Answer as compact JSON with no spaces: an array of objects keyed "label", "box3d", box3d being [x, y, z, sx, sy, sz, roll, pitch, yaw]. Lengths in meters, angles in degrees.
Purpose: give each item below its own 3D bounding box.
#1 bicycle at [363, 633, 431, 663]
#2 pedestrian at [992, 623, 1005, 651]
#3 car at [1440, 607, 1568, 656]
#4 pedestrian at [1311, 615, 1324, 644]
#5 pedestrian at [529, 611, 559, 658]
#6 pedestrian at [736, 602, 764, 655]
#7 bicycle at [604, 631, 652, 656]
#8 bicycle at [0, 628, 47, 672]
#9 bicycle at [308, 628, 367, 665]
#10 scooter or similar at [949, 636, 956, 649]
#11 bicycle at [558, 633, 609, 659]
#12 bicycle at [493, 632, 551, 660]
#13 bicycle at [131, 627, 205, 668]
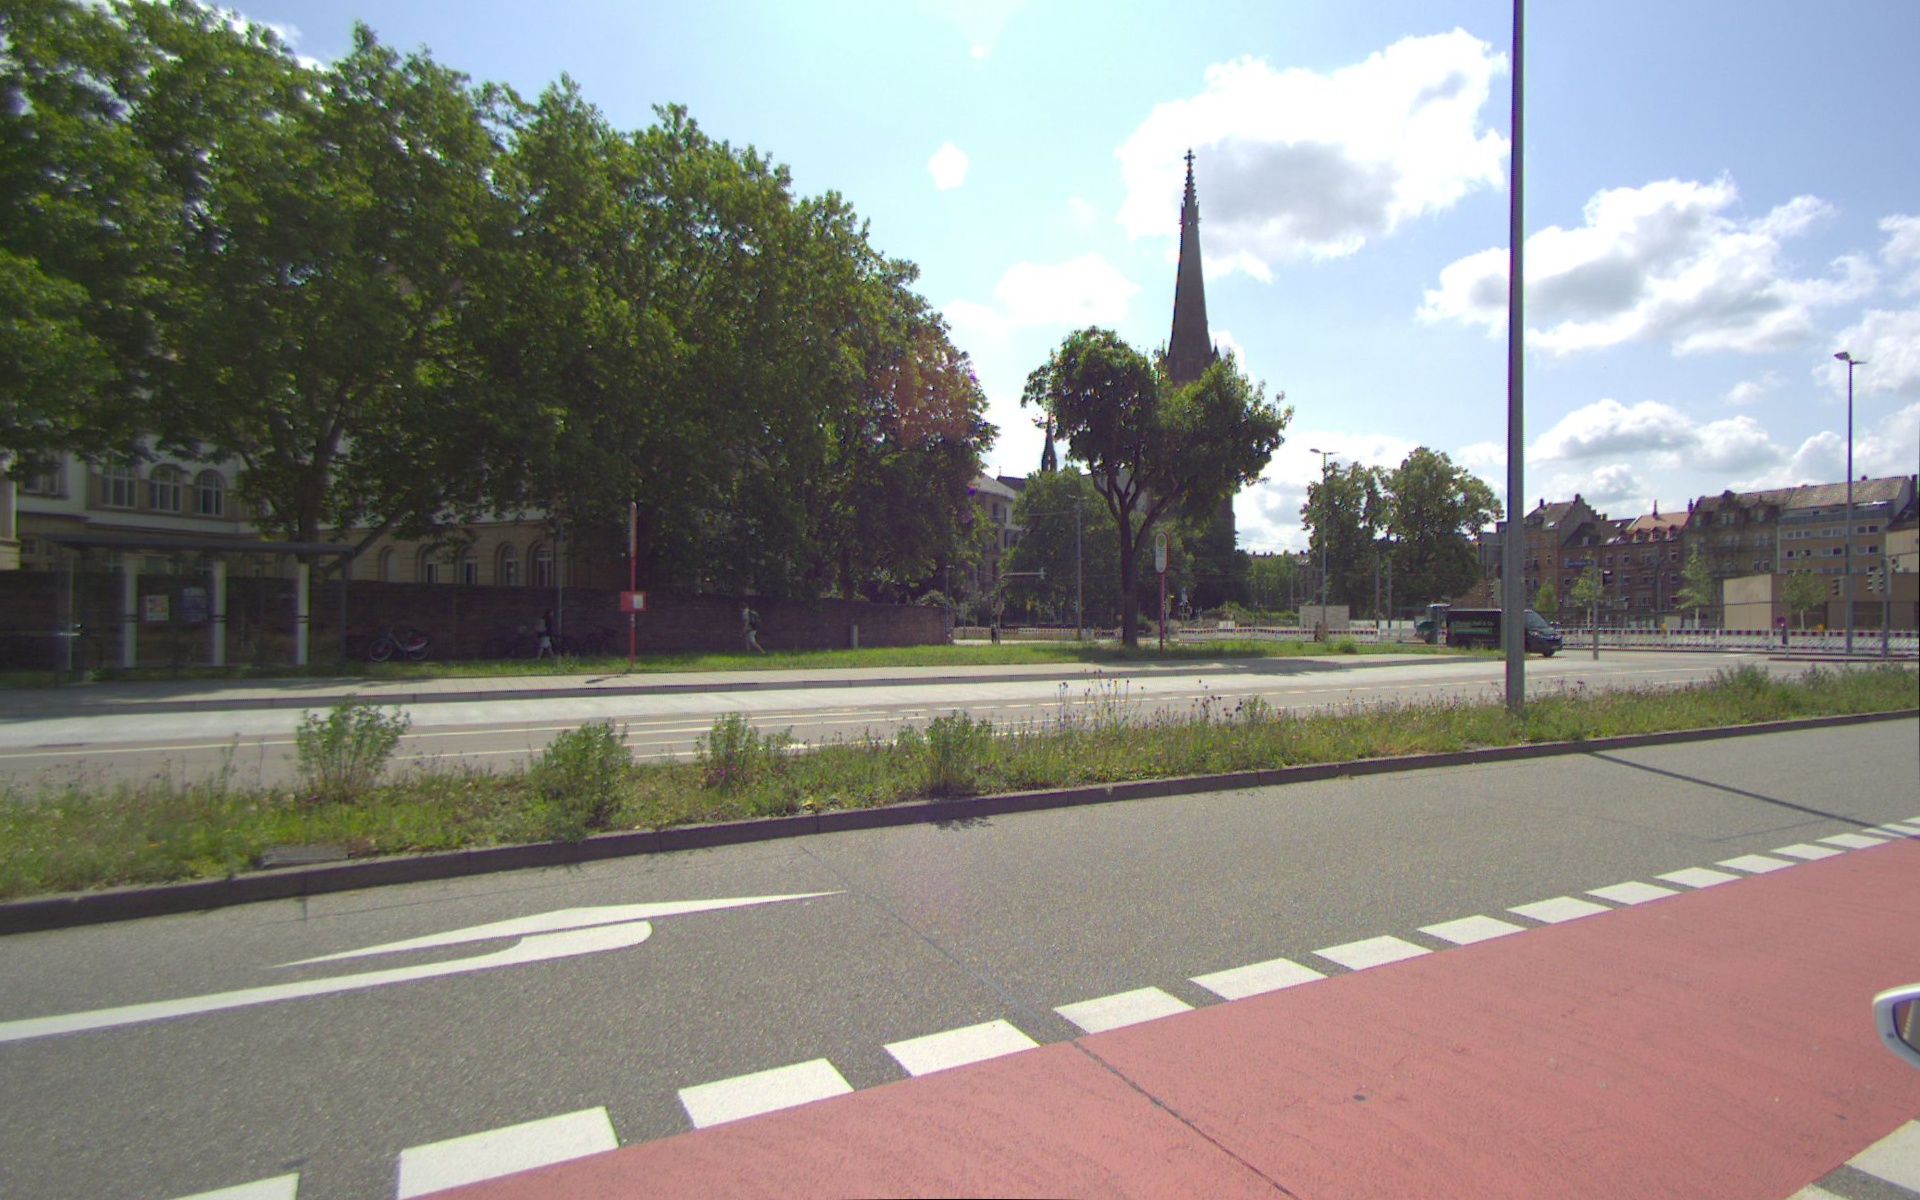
[{"label":"bicycle","box3d":[-16.238,1.381,29.018,0.324,0.828,1.743,0,-1,36]},{"label":"pedestrian","box3d":[2.870,2.719,74.690,0.713,2.040,0.721,1,-1,-32]},{"label":"car","box3d":[25.632,1.440,47.521,2.128,2.204,4.981,1,-1,-29]},{"label":"pedestrian","box3d":[25.260,2.069,70.922,0.625,2.040,0.643,1,-1,-32]},{"label":"pedestrian","box3d":[-12.728,1.048,30.754,0.720,1.413,0.714,1,-1,-35]},{"label":"pedestrian","box3d":[-5.993,0.818,28.660,0.627,1.492,0.506,1,-1,-32]},{"label":"bicycle","box3d":[-11.774,1.540,35.687,0.324,0.828,1.743,0,-1,36]},{"label":"bicycle","box3d":[-21.255,1.113,22.330,0.260,0.977,1.391,0,-1,36]},{"label":"bicycle","box3d":[-17.158,1.267,27.721,0.260,0.977,1.391,0,-1,36]},{"label":"scooter or similar","box3d":[-0.437,2.478,58.989,0.117,0.721,1.005,0,-1,17]},{"label":"bicycle","box3d":[-12.779,1.553,34.160,0.324,0.828,1.743,0,-1,36]},{"label":"bicycle","box3d":[-14.018,1.464,32.204,0.378,0.828,1.743,0,-1,36]},{"label":"bicycle","box3d":[-19.416,1.159,24.651,0.260,0.977,1.391,0,-1,36]}]
